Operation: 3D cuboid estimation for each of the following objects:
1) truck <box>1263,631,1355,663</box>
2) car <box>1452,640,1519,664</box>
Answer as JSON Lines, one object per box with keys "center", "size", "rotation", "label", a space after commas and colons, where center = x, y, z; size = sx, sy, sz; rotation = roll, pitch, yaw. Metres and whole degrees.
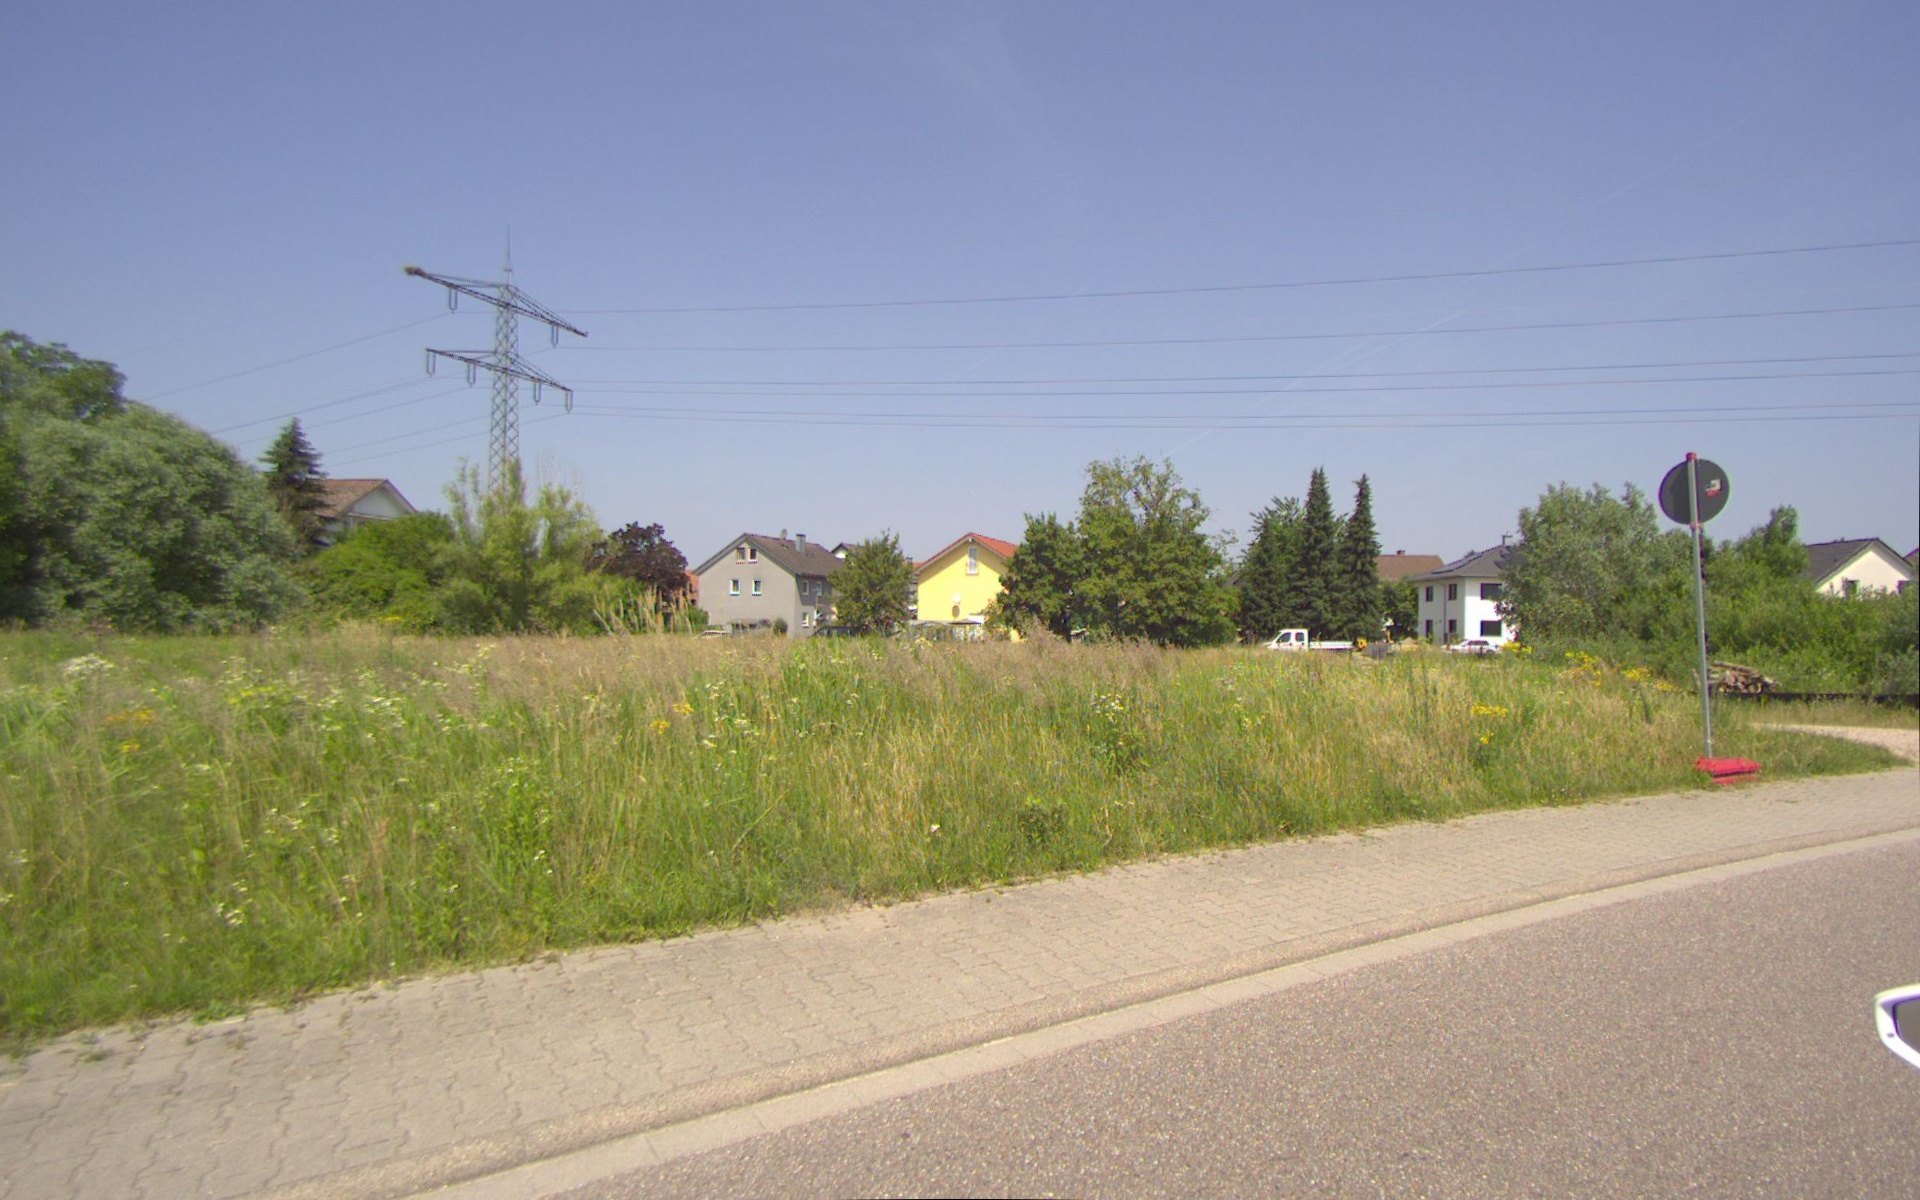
{"center": [24.405, 3.278, 70.477], "size": [5.771, 2.037, 2.122], "rotation": [1, -1, 7], "label": "truck"}
{"center": [40.247, 3.958, 77.053], "size": [4.170, 1.717, 2.001], "rotation": [0, -1, 15], "label": "car"}
